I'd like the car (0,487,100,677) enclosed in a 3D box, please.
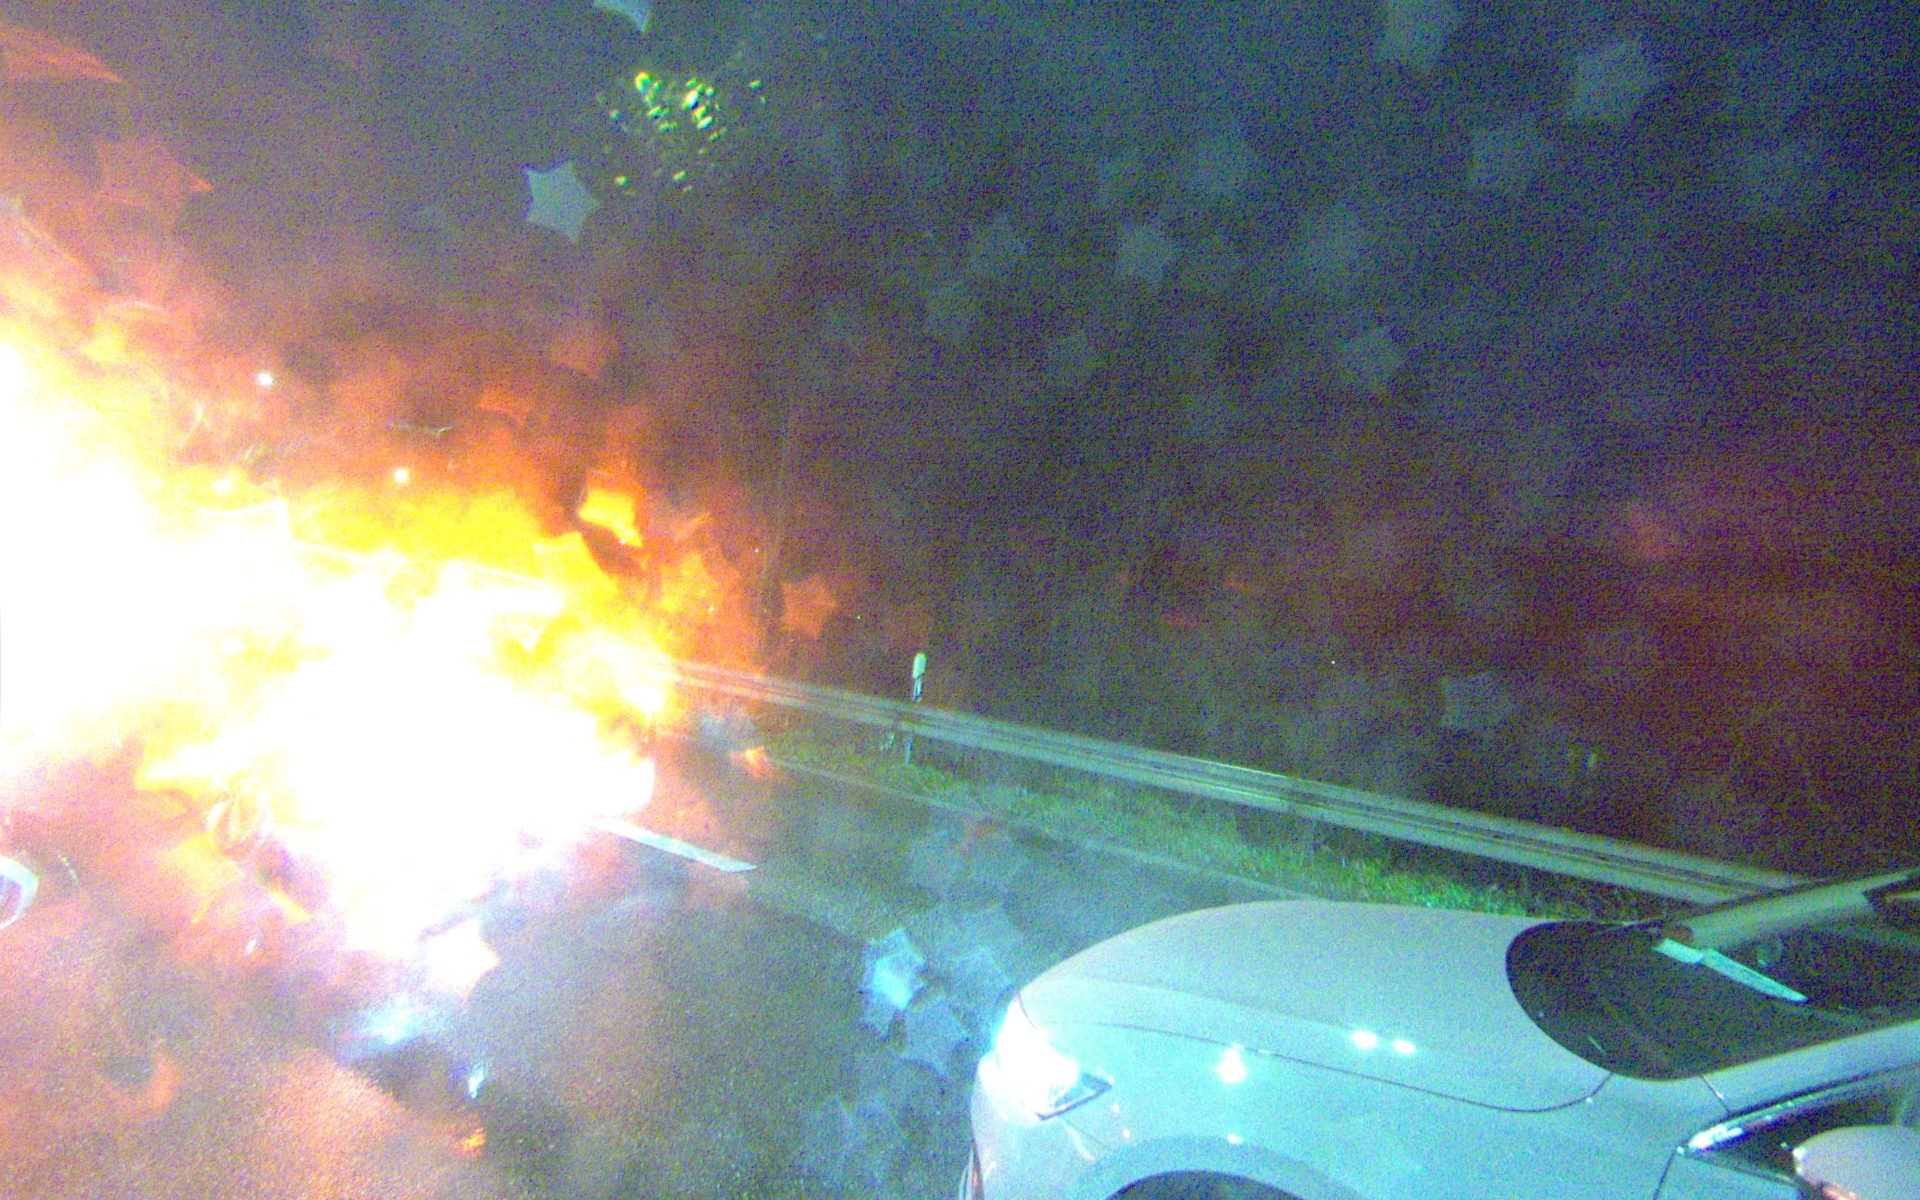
[{"bbox_3d":[-9.699,-0.363,9.002,3.892,1.539,1.681,6,-2,29],"label":"car"}]

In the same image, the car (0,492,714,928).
[{"bbox_3d":[-3.715,0.391,5.760,4.484,1.523,1.677,6,-3,32],"label":"car"}]

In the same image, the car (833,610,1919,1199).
[{"bbox_3d":[2.058,1.066,1.581,4.342,1.539,1.710,6,-2,32],"label":"car"}]
